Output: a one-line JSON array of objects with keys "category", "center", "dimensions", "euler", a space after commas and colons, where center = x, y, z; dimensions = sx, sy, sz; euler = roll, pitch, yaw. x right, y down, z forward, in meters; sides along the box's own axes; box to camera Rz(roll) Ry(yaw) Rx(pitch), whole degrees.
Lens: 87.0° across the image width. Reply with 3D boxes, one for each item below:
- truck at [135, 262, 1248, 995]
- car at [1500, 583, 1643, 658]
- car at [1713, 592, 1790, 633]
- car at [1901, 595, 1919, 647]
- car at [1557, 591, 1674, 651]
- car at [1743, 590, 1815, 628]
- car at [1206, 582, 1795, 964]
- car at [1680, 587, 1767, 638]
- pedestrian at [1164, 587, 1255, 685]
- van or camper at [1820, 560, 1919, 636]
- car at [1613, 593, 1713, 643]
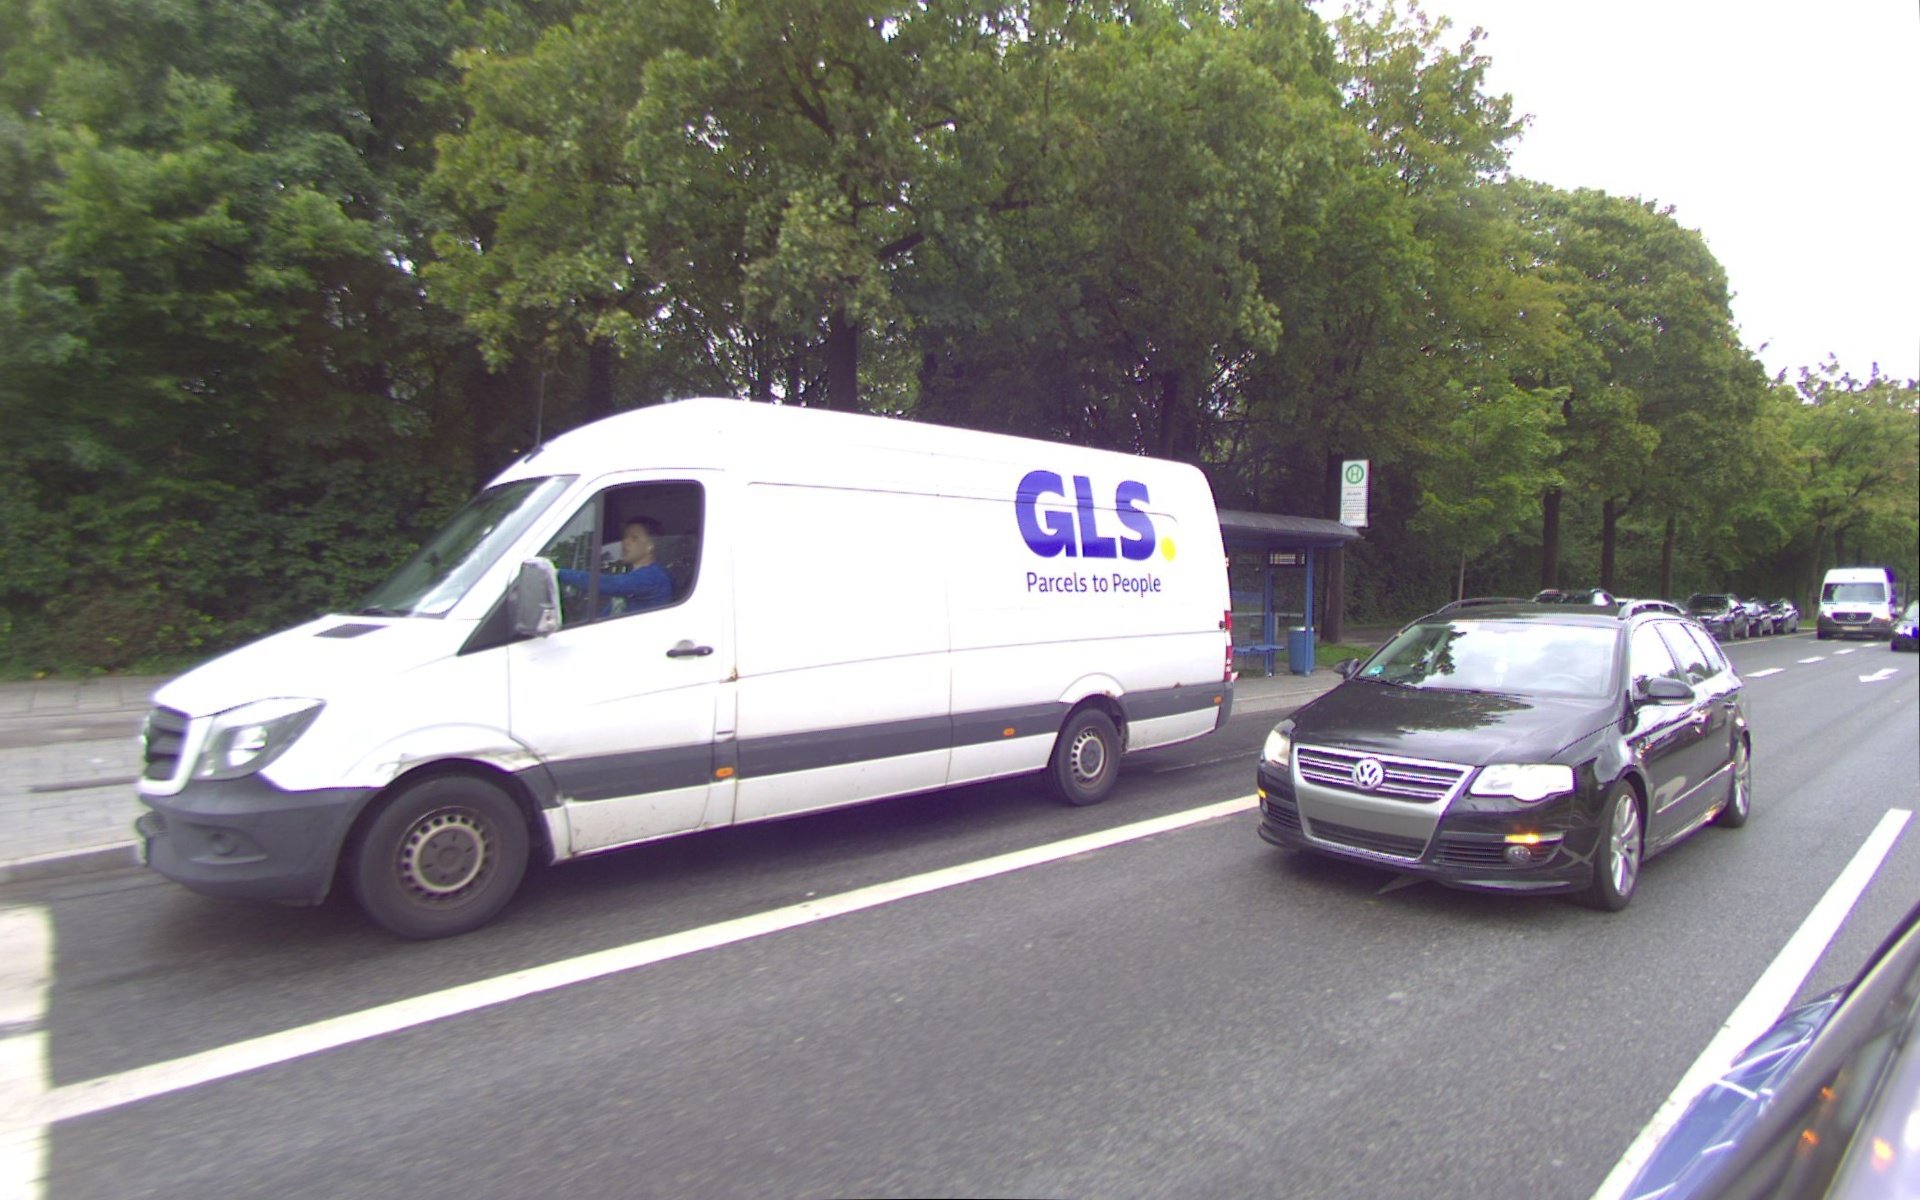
[{"category": "truck", "center": [-0.898, 0.065, 6.778], "dimensions": [7.103, 2.636, 1.996], "euler": [0, 1, -42]}, {"category": "car", "center": [15.237, 0.444, 25.112], "dimensions": [4.322, 1.670, 1.882], "euler": [0, 1, -42]}, {"category": "car", "center": [31.134, 0.446, 39.787], "dimensions": [3.969, 1.485, 1.750], "euler": [0, 1, -42]}, {"category": "car", "center": [28.698, 0.566, 29.149], "dimensions": [4.589, 1.447, 1.817], "euler": [0, -1, -41]}, {"category": "car", "center": [18.760, 0.532, 28.881], "dimensions": [4.322, 1.543, 1.750], "euler": [0, 1, -42]}, {"category": "car", "center": [34.766, 0.339, 42.932], "dimensions": [4.183, 1.485, 1.750], "euler": [0, 1, -42]}, {"category": "car", "center": [3.559, 0.652, 6.170], "dimensions": [4.592, 1.493, 1.750], "euler": [0, 1, -42]}, {"category": "car", "center": [27.384, 0.401, 36.264], "dimensions": [4.183, 1.670, 1.750], "euler": [0, 1, -42]}, {"category": "pedestrian", "center": [3.722, 0.528, 15.124], "dimensions": [0.601, 1.401, 1.155], "euler": [0, -2, -43]}, {"category": "van or camper", "center": [33.863, -0.109, 37.328], "dimensions": [6.950, 2.593, 2.182], "euler": [0, 1, -41]}, {"category": "car", "center": [22.712, 0.531, 32.629], "dimensions": [4.183, 1.446, 1.750], "euler": [0, 1, -42]}]
